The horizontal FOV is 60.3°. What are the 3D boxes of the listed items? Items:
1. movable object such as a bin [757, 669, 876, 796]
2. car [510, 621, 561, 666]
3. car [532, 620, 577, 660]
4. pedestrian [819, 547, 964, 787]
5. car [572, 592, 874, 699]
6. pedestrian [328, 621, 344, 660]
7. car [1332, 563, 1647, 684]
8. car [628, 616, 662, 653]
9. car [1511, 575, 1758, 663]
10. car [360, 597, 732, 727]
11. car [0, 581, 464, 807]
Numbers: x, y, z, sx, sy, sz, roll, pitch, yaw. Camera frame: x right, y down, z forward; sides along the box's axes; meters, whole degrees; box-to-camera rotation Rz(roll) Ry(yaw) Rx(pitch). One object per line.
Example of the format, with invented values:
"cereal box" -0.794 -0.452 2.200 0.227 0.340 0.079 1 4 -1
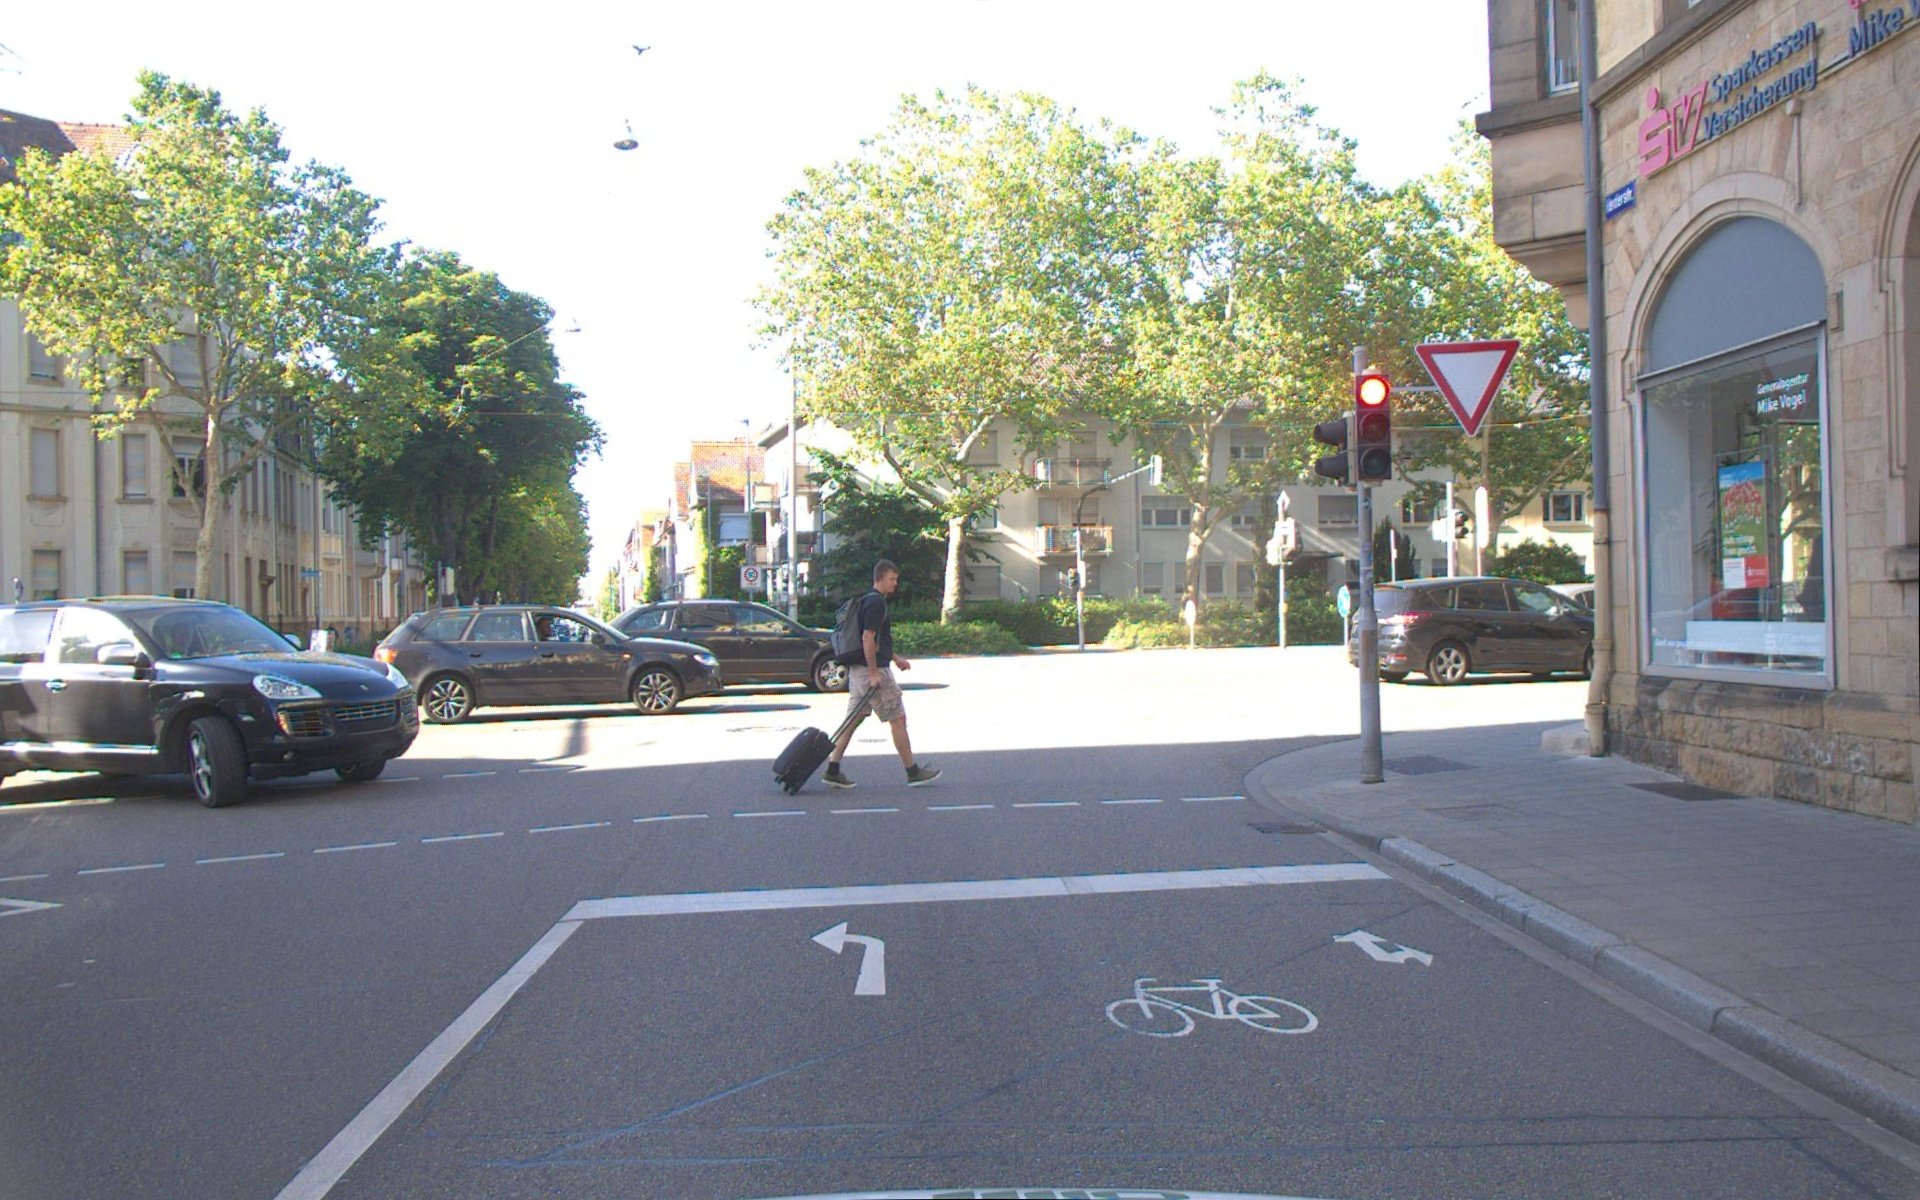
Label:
"movable object such as a bin" -1.120 1.016 12.858 0.847 0.907 0.508 -2 0 -13
"car" -16.170 1.636 63.077 1.669 1.509 3.523 -3 1 -12
"car" -16.872 1.652 68.903 1.669 1.509 3.523 -3 1 -12
"pedestrian" -0.569 0.522 13.453 1.047 1.881 0.746 -1 0 -13
"car" -3.785 0.679 26.147 4.539 1.482 1.974 -2 0 -14
"pedestrian" -23.581 1.526 62.547 0.480 1.467 0.702 1 -1 -16
"car" 8.388 0.346 26.248 4.586 1.693 1.722 -2 0 -17
"car" -17.980 1.920 94.216 1.742 1.952 3.523 -3 0 -12
"car" 12.551 0.323 30.805 4.133 1.482 1.671 -1 1 -16
"car" -5.373 0.768 21.774 4.539 1.482 1.724 -2 0 -14
"car" -6.948 0.801 14.482 4.595 1.723 2.080 -2 0 20
